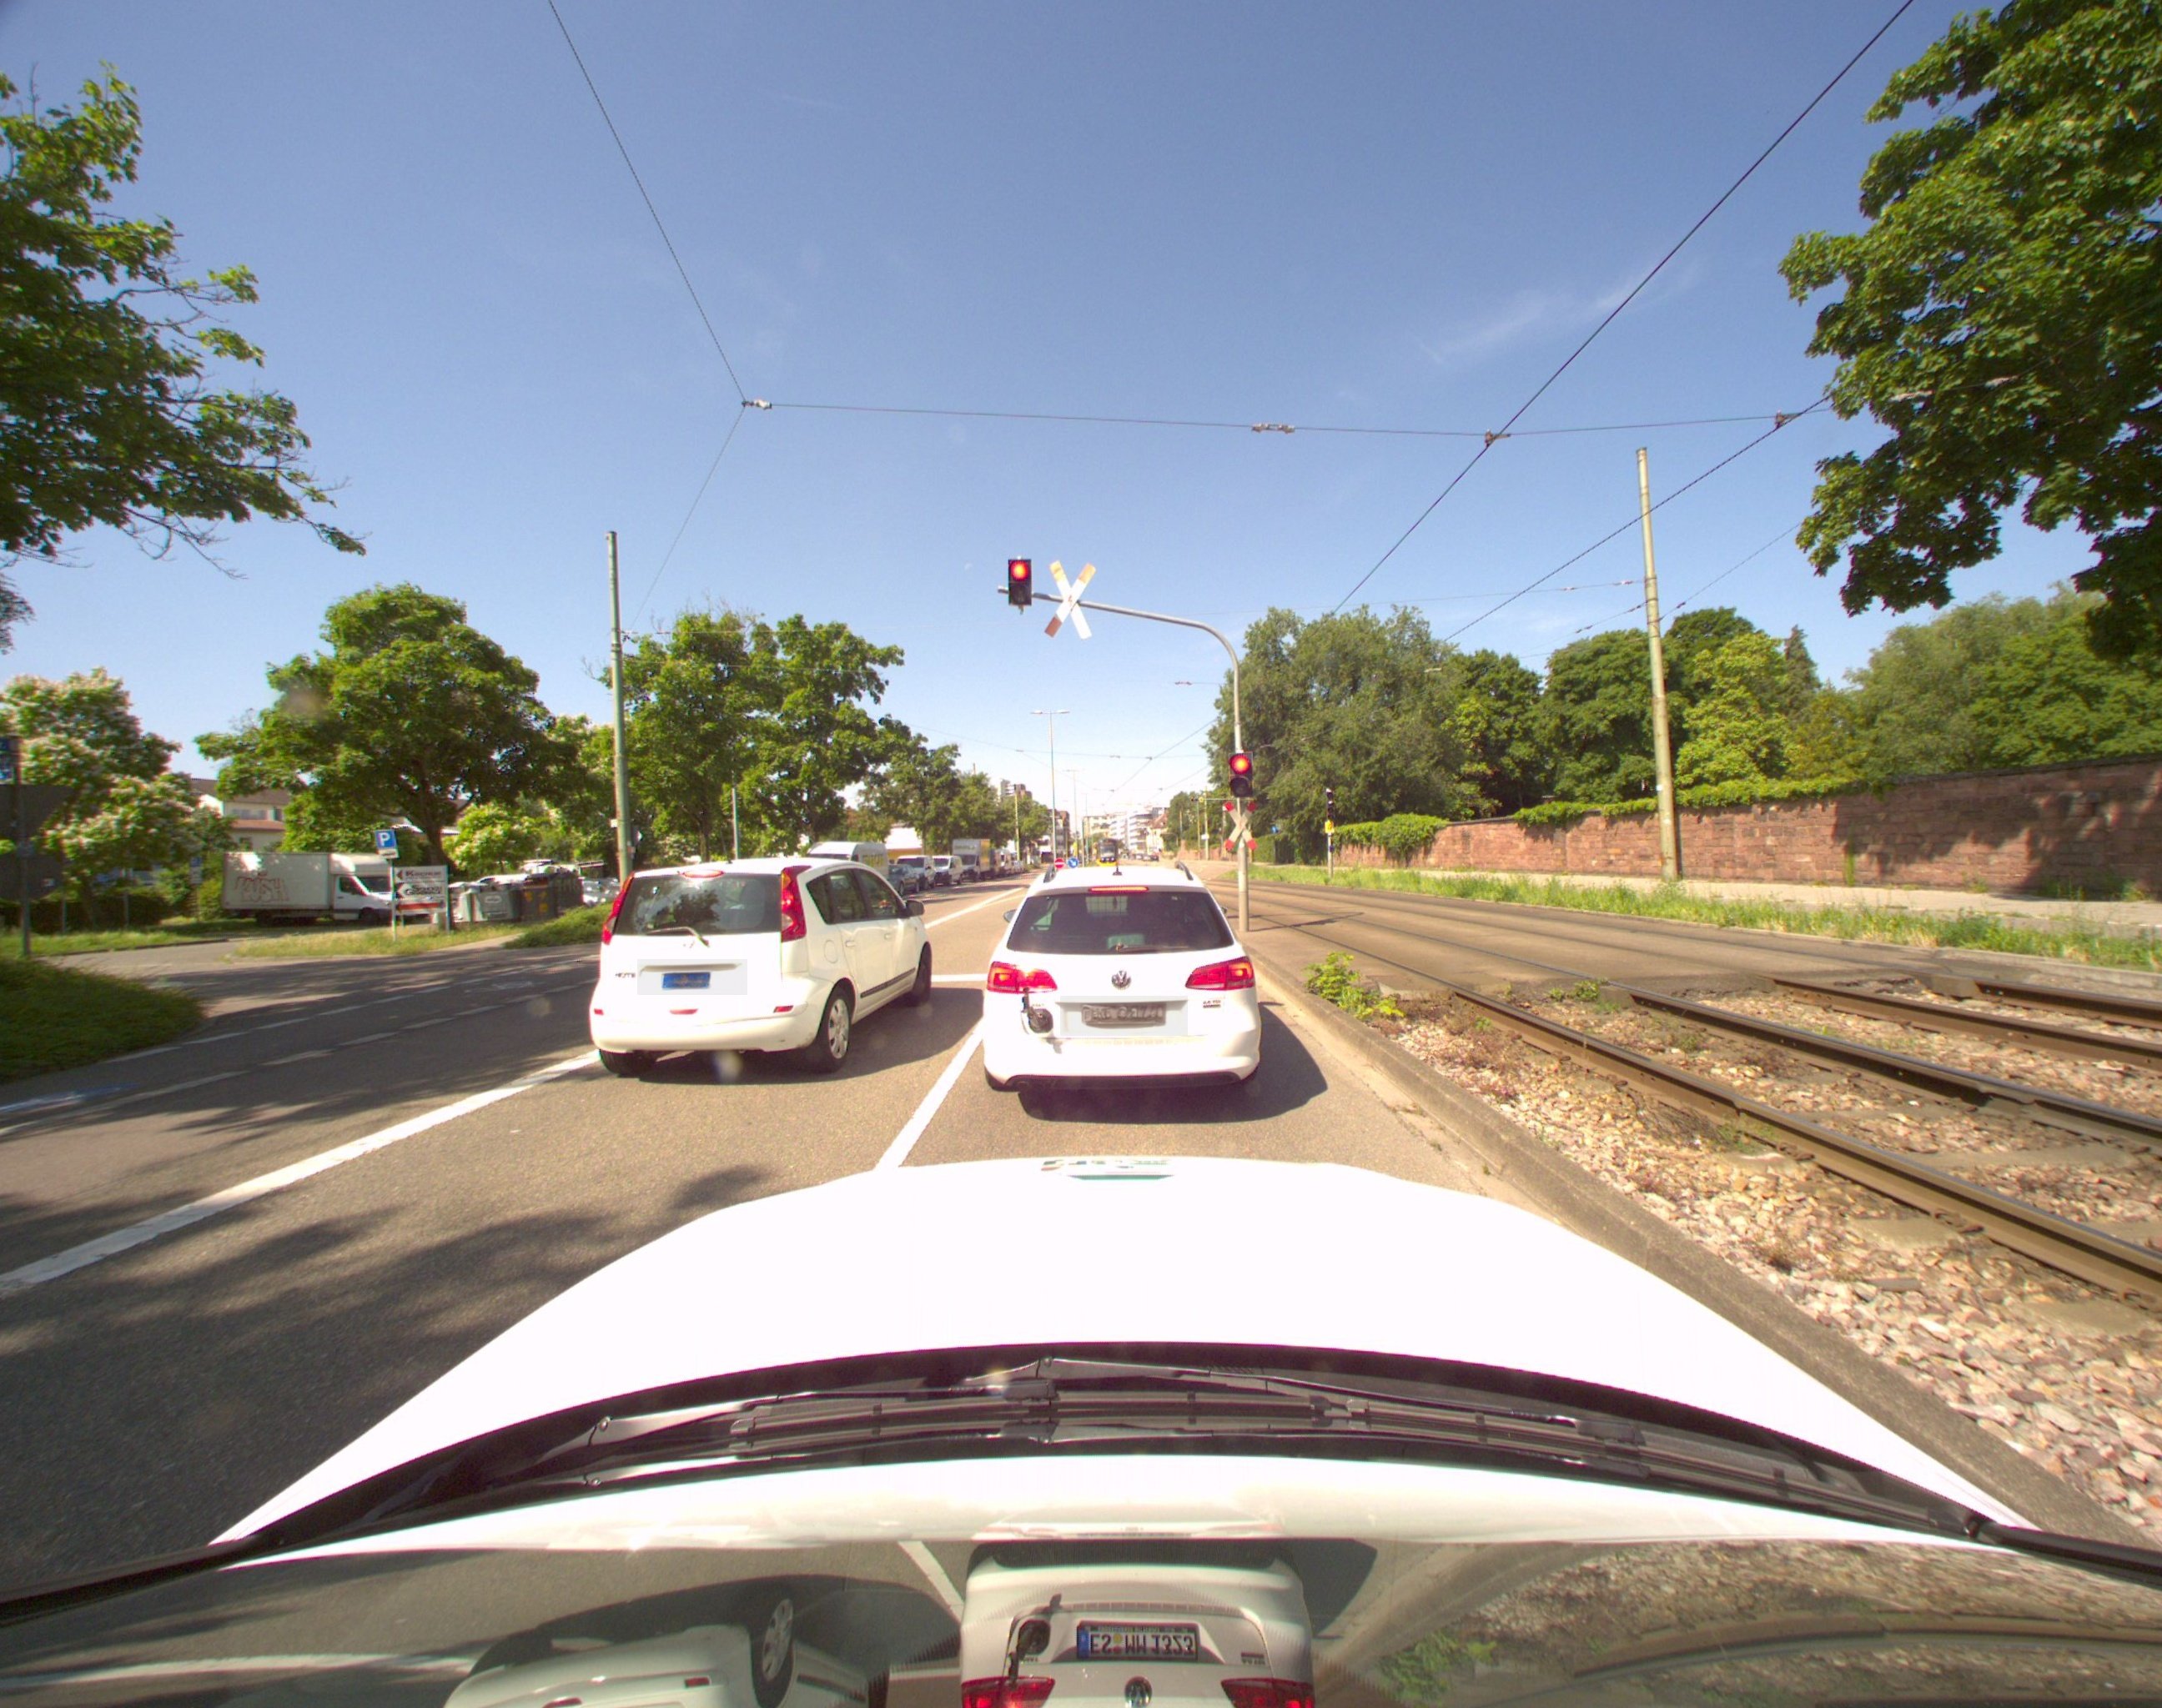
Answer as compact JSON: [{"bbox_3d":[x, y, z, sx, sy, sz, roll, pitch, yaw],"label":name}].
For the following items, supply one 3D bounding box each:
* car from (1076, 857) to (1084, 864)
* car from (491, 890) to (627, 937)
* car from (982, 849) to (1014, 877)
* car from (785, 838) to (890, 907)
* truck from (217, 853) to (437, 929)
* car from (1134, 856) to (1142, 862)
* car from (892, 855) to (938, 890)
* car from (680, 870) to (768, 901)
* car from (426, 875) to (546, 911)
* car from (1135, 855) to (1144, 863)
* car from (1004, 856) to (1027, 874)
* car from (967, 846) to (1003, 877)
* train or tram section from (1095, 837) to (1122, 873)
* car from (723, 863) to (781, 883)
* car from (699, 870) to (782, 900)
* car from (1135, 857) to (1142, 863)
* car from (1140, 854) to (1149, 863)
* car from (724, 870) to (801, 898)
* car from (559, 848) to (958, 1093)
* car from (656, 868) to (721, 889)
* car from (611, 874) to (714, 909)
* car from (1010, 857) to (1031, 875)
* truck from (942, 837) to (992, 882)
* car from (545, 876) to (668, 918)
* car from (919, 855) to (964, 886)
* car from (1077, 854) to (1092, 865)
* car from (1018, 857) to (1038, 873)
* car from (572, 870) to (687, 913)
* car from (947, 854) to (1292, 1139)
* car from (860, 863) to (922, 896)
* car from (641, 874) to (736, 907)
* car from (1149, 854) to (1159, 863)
[{"bbox_3d":[-0.295,1.634,200.401,1.701,1.473,4.585,-3,0,-2],"label":"car"},{"bbox_3d":[-19.901,2.235,31.163,3.977,1.415,1.729,-4,-1,-3],"label":"car"},{"bbox_3d":[-7.732,0.765,76.116,2.114,2.516,5.737,0,0,2],"label":"car"},{"bbox_3d":[-9.583,0.687,32.671,2.114,2.516,5.822,0,0,3],"label":"car"},{"bbox_3d":[-32.427,1.521,35.202,6.979,3.110,2.677,0,0,0],"label":"truck"},{"bbox_3d":[16.728,1.516,239.033,1.857,1.868,5.063,0,0,1],"label":"car"},{"bbox_3d":[-9.233,0.993,45.682,1.859,1.868,5.068,0,0,-4],"label":"car"},{"bbox_3d":[-19.542,1.724,44.726,3.977,1.415,1.729,-4,-1,-3],"label":"car"},{"bbox_3d":[-31.774,2.050,43.596,4.780,1.787,2.062,0,-1,-3],"label":"car"},{"bbox_3d":[14.393,1.144,200.151,1.857,1.868,5.063,0,0,1],"label":"car"},{"bbox_3d":[-6.831,1.138,85.206,1.856,1.868,5.415,0,0,1],"label":"car"},{"bbox_3d":[-8.054,0.621,68.682,2.114,2.516,5.737,0,0,2],"label":"car"},{"bbox_3d":[3.321,0.080,97.479,2.860,3.855,12.396,-3,0,2],"label":"train or tram section"},{"bbox_3d":[-31.481,1.824,78.034,4.780,1.787,2.062,0,-1,-3],"label":"car"},{"bbox_3d":[-19.612,1.769,47.060,3.977,1.415,1.729,-4,-1,-3],"label":"car"},{"bbox_3d":[18.101,1.759,257.753,1.857,1.868,5.063,0,0,1],"label":"car"},{"bbox_3d":[14.414,1.015,184.806,1.857,1.868,5.063,0,0,1],"label":"car"},{"bbox_3d":[-19.466,1.823,49.876,3.977,1.415,1.729,-4,-1,-3],"label":"car"},{"bbox_3d":[-2.432,0.752,7.530,1.655,1.547,4.550,-1,0,3],"label":"car"},{"bbox_3d":[-35.147,2.199,72.971,4.780,1.787,2.062,0,-1,-3],"label":"car"},{"bbox_3d":[-20.298,1.806,39.599,3.977,1.415,1.729,-4,-1,-3],"label":"car"},{"bbox_3d":[-6.781,1.317,92.024,1.856,1.868,5.415,0,0,1],"label":"car"},{"bbox_3d":[-8.395,0.416,60.687,2.411,3.150,7.001,0,0,2],"label":"truck"},{"bbox_3d":[-19.670,1.770,33.856,3.977,1.415,1.729,-4,-1,-3],"label":"car"},{"bbox_3d":[-8.874,1.014,52.266,1.856,1.868,5.415,0,0,1],"label":"car"},{"bbox_3d":[0.513,0.760,112.601,1.698,1.473,4.593,-3,0,3],"label":"car"},{"bbox_3d":[-6.400,1.279,98.936,1.856,1.868,5.415,0,0,1],"label":"car"},{"bbox_3d":[-19.919,1.629,36.063,3.977,1.610,1.729,-4,-1,-3],"label":"car"},{"bbox_3d":[0.265,0.755,6.308,1.756,1.430,4.002,-3,0,2],"label":"car"},{"bbox_3d":[-9.033,1.190,39.001,1.856,1.415,4.281,0,0,1],"label":"car"},{"bbox_3d":[-20.291,1.870,42.210,3.977,1.415,1.729,-4,-1,-3],"label":"car"},{"bbox_3d":[15.081,0.903,168.459,1.857,1.868,5.063,0,0,1],"label":"car"}]
